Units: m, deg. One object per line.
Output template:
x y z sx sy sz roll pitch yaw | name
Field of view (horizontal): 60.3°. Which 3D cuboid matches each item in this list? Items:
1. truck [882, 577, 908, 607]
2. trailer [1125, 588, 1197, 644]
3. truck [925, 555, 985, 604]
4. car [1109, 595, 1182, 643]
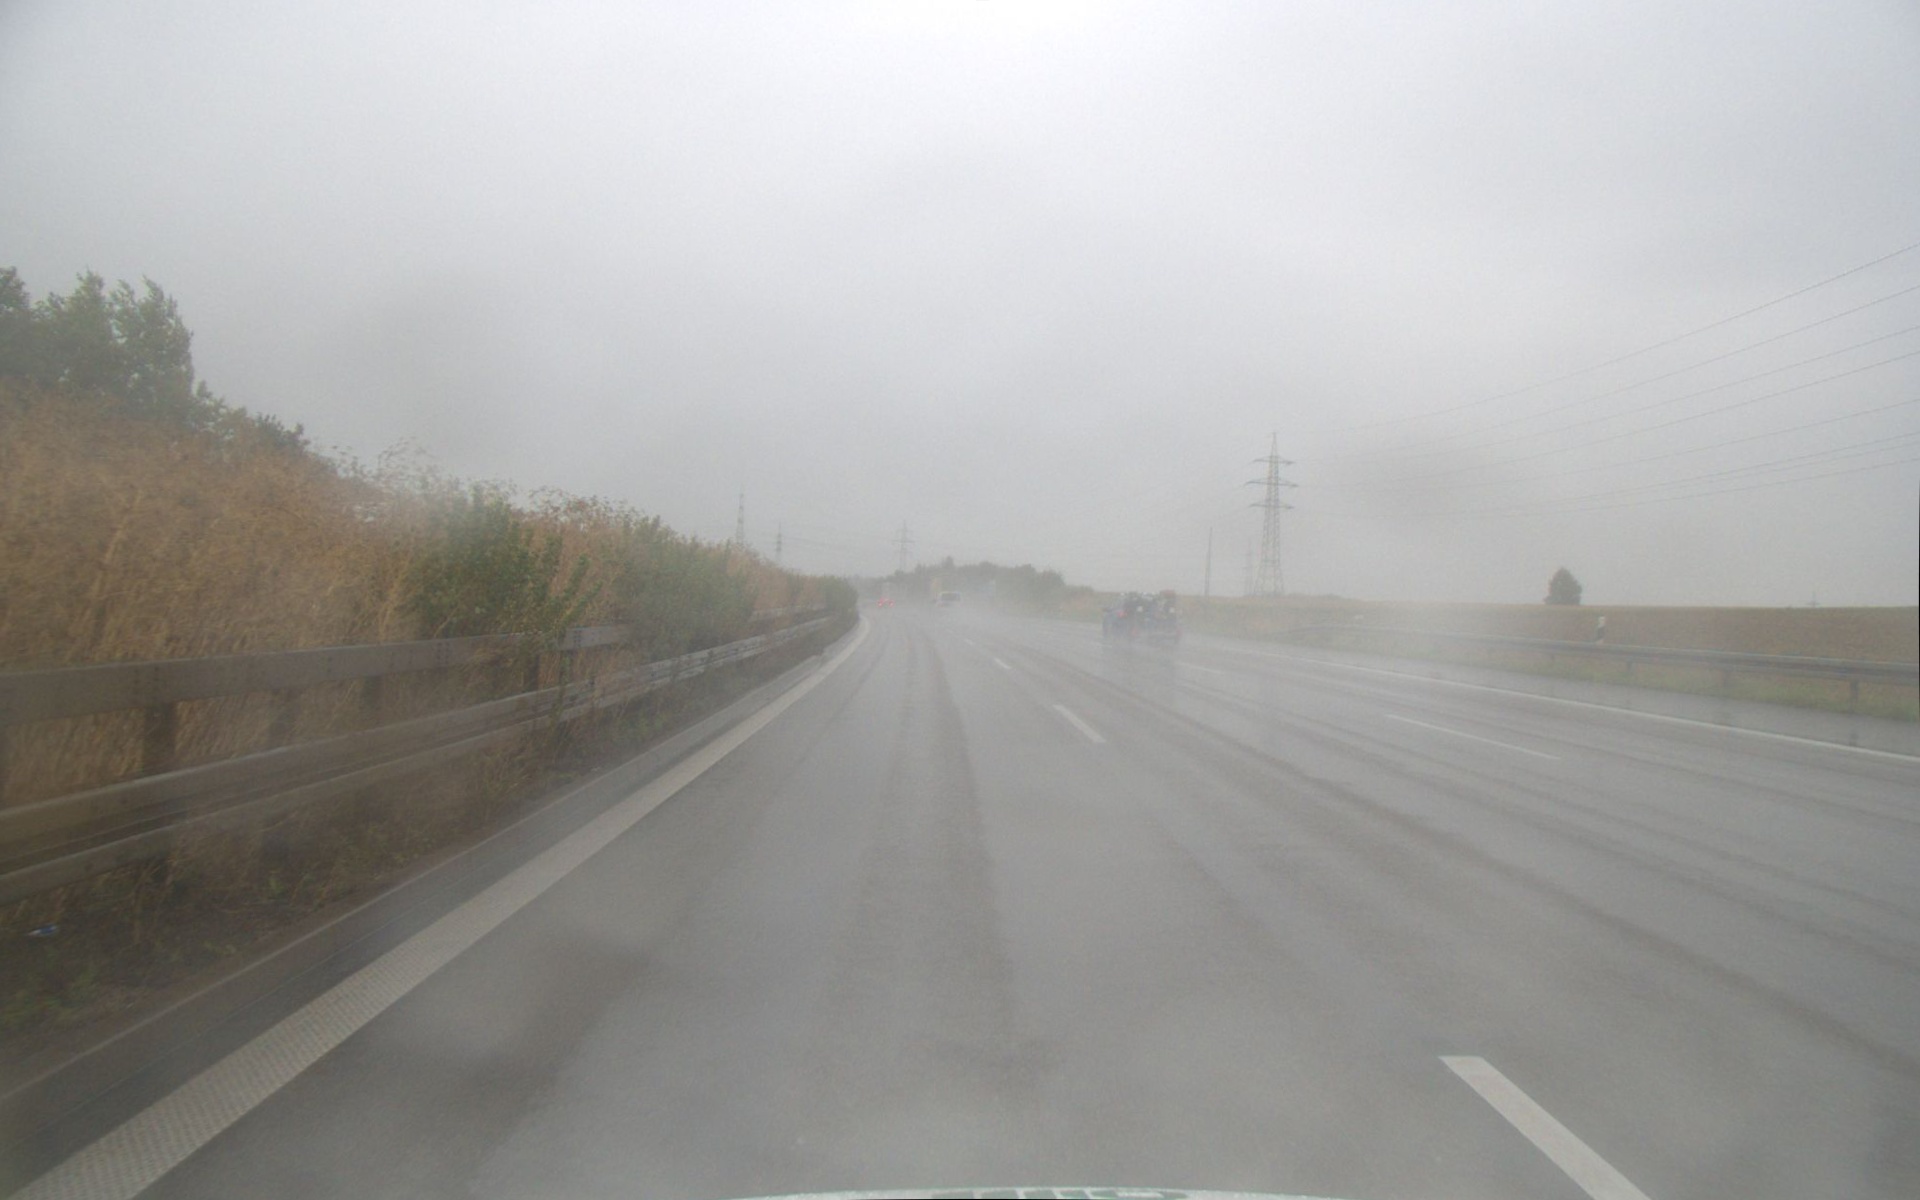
-9.689 -1.216 247.184 3.171 4.387 8.823 1 0 -7 | truck
6.723 0.547 55.566 1.939 1.816 3.188 1 -1 -1 | trailer
-0.676 -2.014 173.868 4.110 4.711 16.075 1 -1 -8 | truck
6.633 0.687 59.619 1.953 1.647 4.991 1 -1 -1 | car
